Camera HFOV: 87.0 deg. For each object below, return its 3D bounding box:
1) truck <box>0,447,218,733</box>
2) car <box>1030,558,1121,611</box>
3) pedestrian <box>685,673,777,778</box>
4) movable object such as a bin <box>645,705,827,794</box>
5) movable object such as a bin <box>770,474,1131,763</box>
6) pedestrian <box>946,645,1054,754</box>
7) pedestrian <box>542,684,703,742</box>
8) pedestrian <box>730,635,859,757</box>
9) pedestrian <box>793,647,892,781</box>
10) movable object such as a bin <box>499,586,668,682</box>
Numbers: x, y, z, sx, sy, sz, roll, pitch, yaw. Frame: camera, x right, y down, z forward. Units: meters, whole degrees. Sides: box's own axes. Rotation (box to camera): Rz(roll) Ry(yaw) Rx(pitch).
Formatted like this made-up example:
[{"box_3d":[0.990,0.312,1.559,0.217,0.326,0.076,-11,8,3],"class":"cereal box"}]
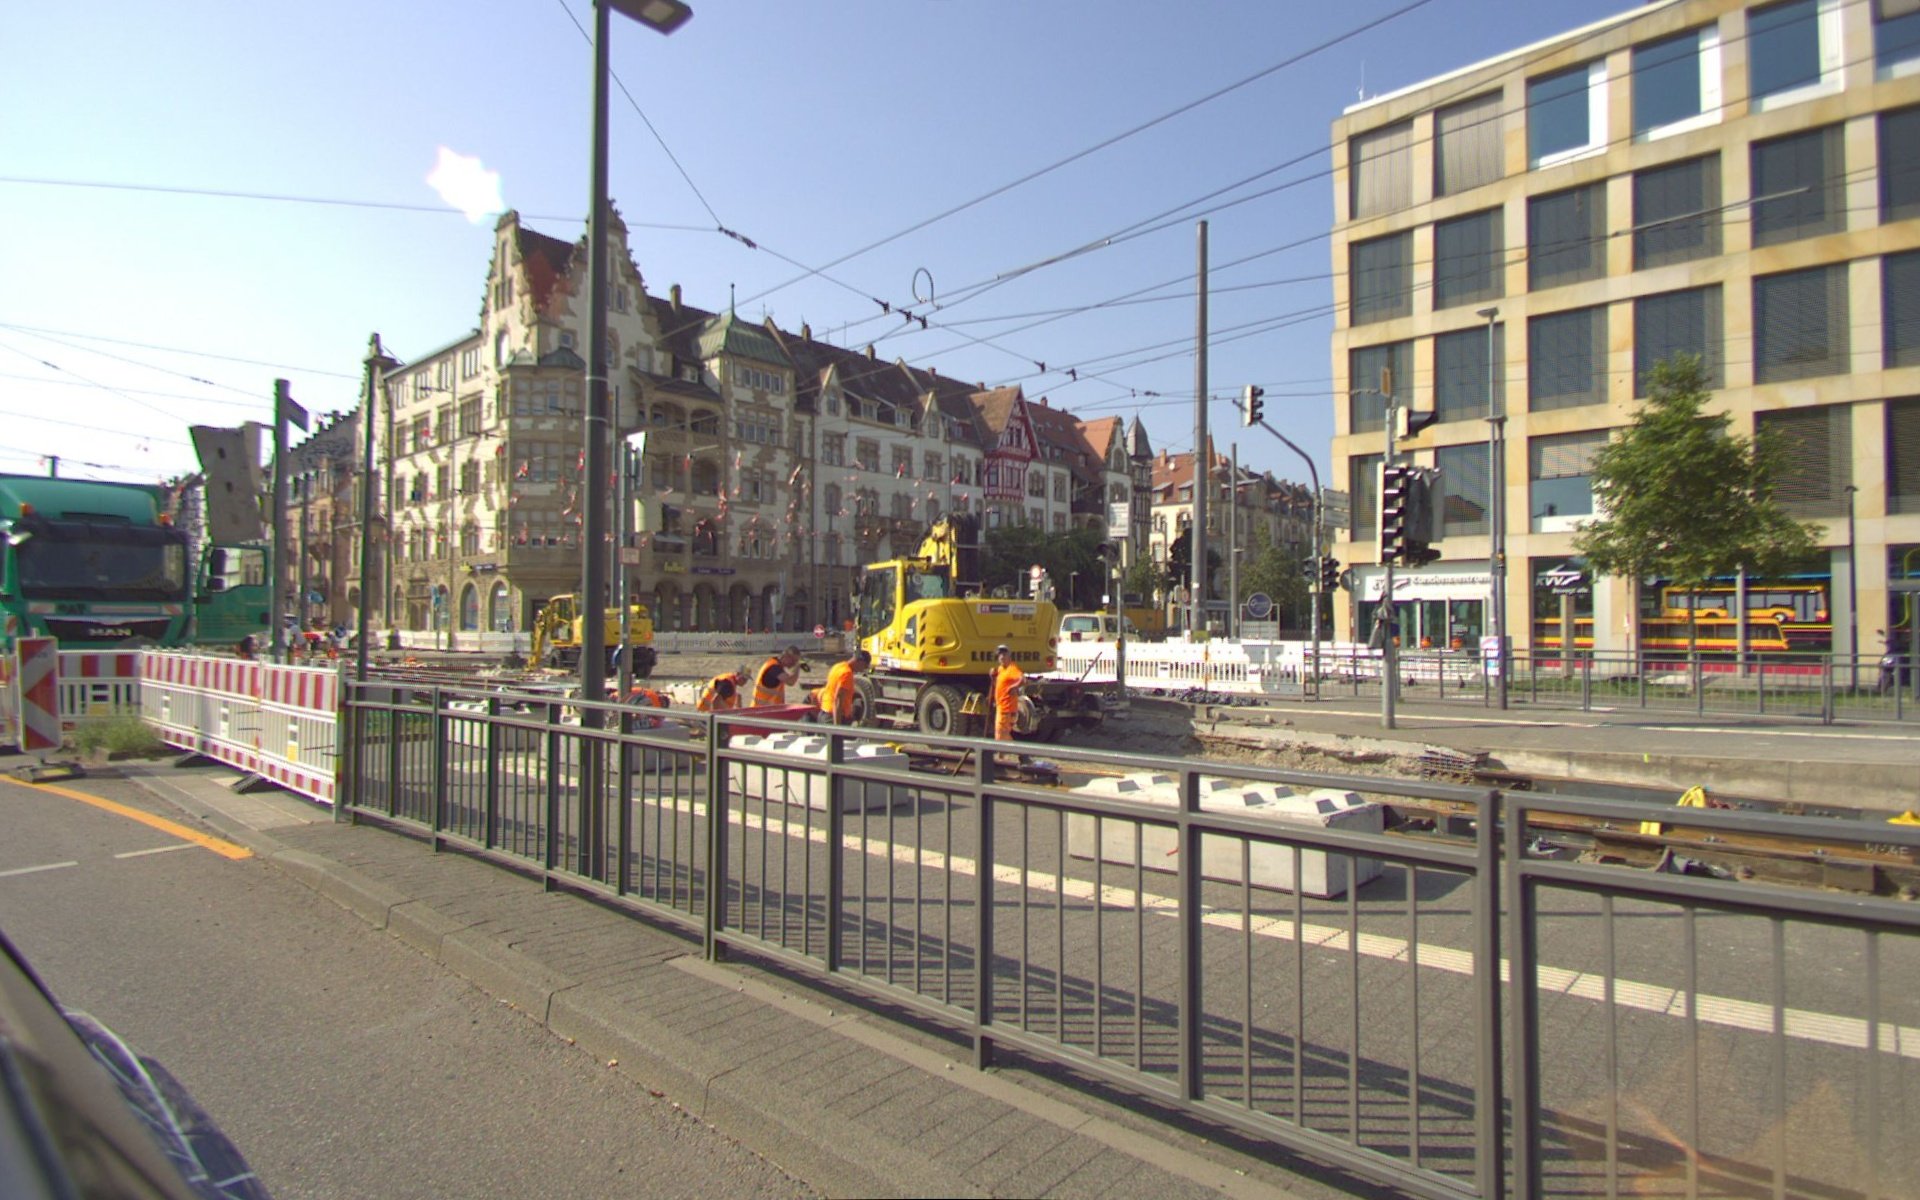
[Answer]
[{"box_3d":[-15.255,-0.022,16.294,8.191,3.706,2.652,-1,-2,34],"class":"truck"},{"box_3d":[5.204,-0.625,45.104,1.813,2.046,5.057,-2,-3,35],"class":"car"},{"box_3d":[-2.855,1.531,12.579,0.968,1.199,0.801,1,-2,-24],"class":"pedestrian"},{"box_3d":[-2.037,1.333,9.210,1.484,0.657,0.703,1,-2,-27],"class":"movable object such as a bin"},{"box_3d":[-0.794,0.430,19.009,3.454,4.044,9.070,1,-2,-24],"class":"movable object such as a bin"},{"box_3d":[0.515,1.250,13.082,1.003,1.316,0.983,2,-3,-44],"class":"pedestrian"},{"box_3d":[-4.585,1.515,13.842,1.879,0.641,0.913,2,-3,-44],"class":"pedestrian"},{"box_3d":[-1.901,1.057,11.580,1.293,1.316,0.801,1,-2,-24],"class":"pedestrian"},{"box_3d":[-1.246,1.163,10.654,0.825,1.316,0.801,1,-2,-24],"class":"pedestrian"},{"box_3d":[-14.767,1.308,39.281,8.348,3.355,2.814,-1,-3,44],"class":"movable object such as a bin"}]
